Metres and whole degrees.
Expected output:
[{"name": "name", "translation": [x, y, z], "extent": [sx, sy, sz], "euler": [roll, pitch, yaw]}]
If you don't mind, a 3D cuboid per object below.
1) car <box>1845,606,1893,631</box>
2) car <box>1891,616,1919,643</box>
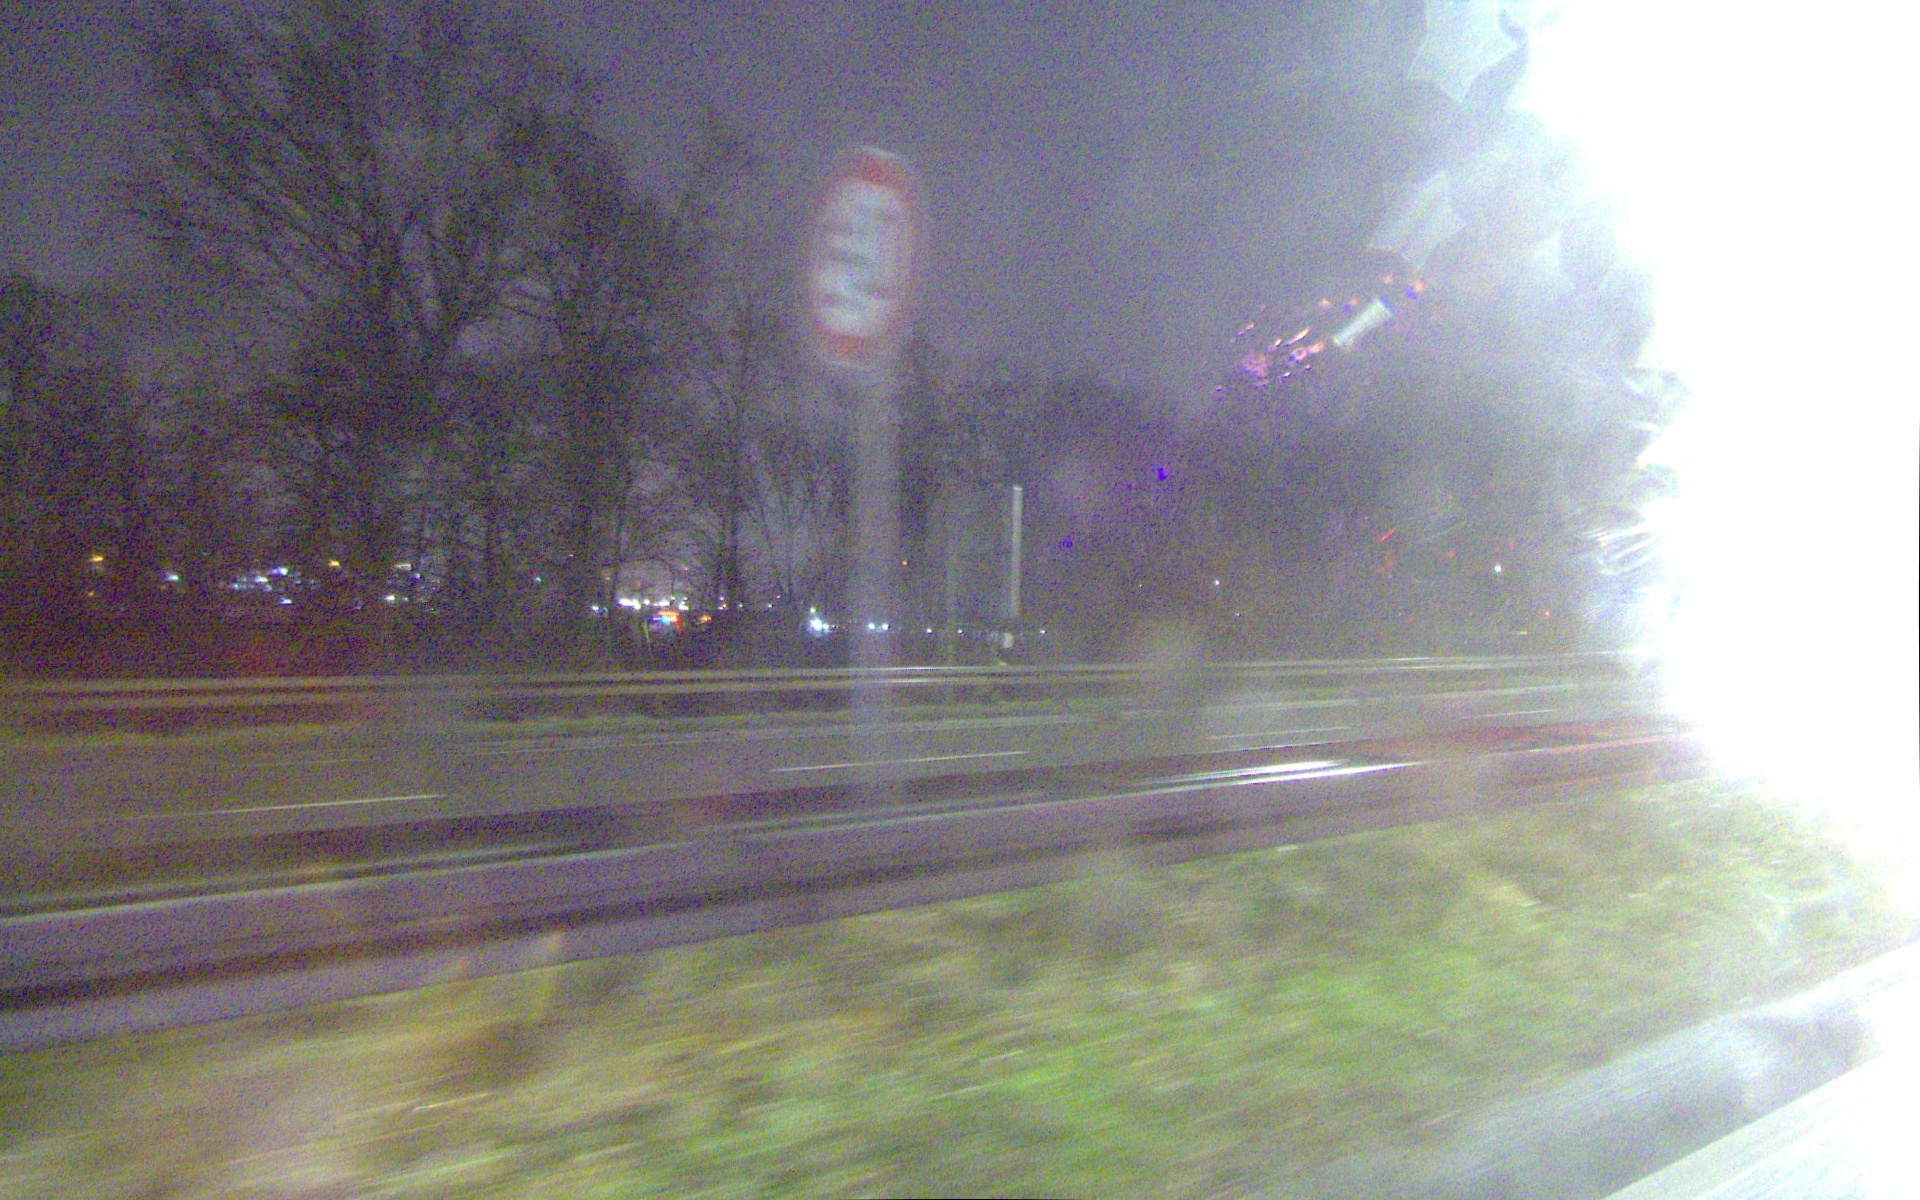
[{"name": "car", "translation": [78.086, 1.580, 86.341], "extent": [1.962, 2.040, 3.996], "euler": [3, 1, 26]}, {"name": "car", "translation": [74.502, 2.283, 77.787], "extent": [2.175, 2.040, 3.999], "euler": [1, -1, 21]}]
